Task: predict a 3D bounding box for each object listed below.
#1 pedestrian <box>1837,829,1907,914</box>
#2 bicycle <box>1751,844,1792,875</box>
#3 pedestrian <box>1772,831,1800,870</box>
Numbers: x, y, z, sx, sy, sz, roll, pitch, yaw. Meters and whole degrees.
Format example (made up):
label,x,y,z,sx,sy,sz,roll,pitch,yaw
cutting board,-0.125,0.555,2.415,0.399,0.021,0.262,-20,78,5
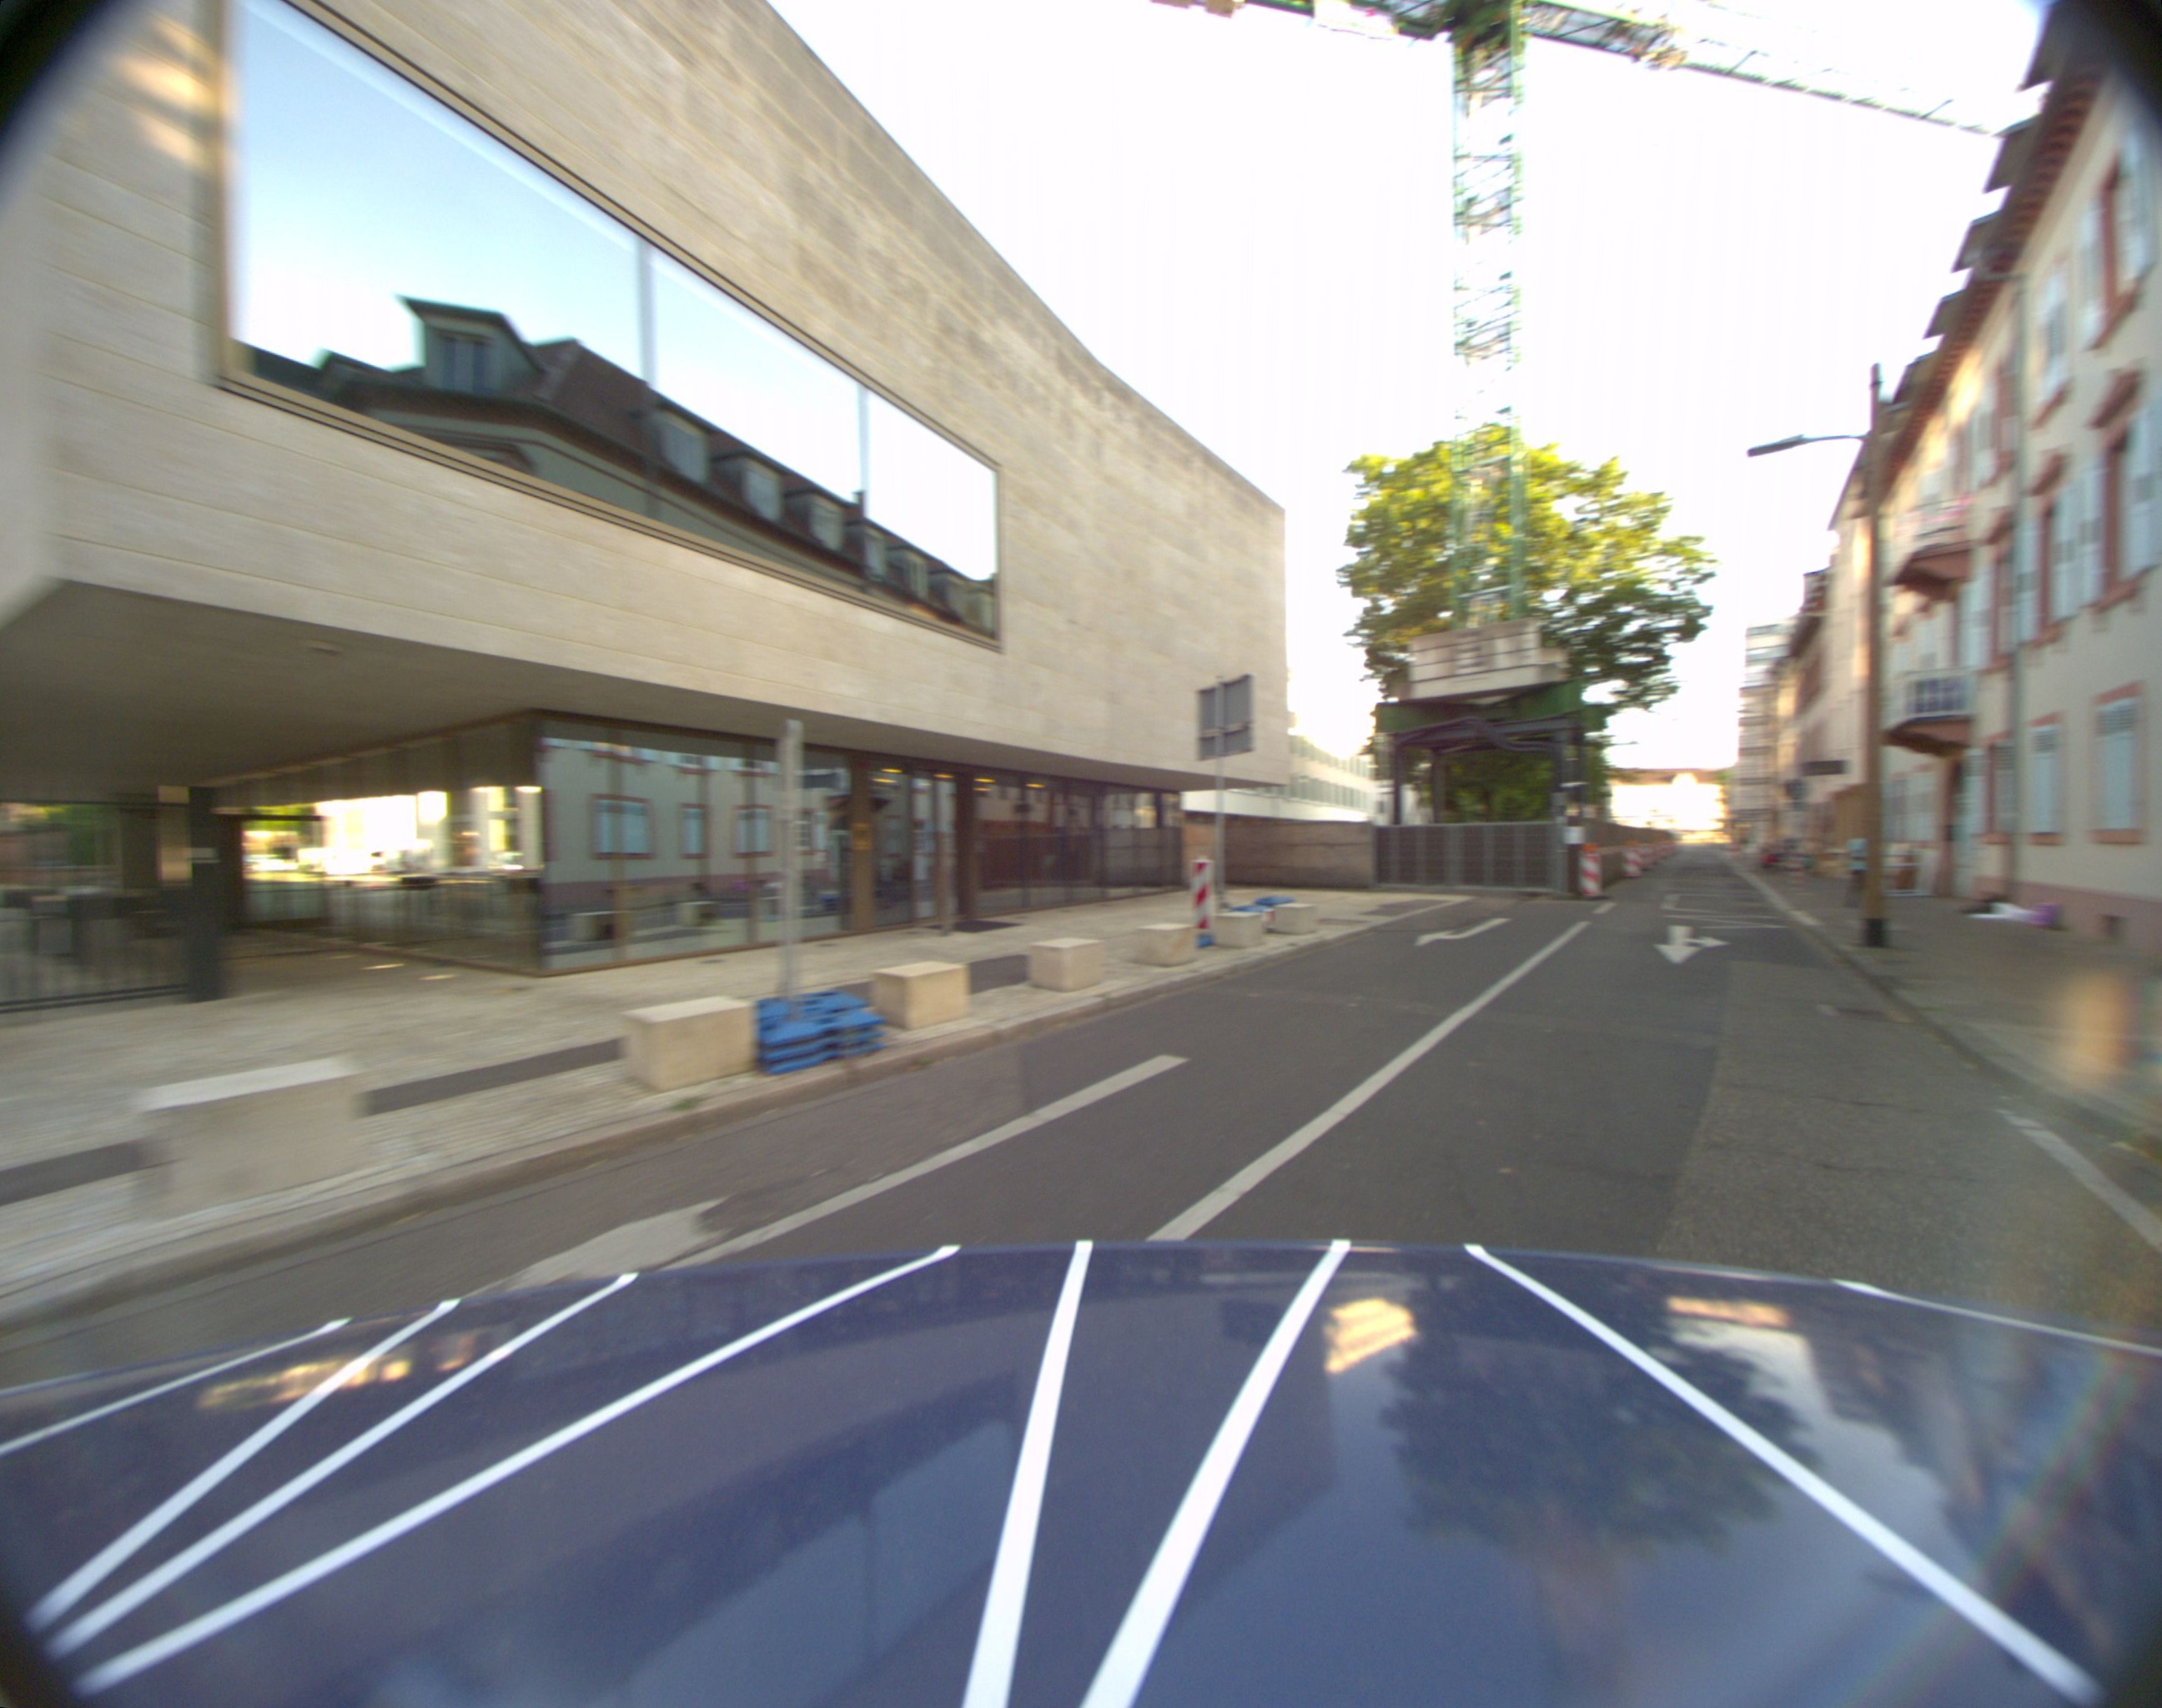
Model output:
label,x,y,z,sx,sy,sz,roll,pitch,yaw
pedestrian,16.165,0.357,15.542,0.824,1.686,0.650,-4,-1,37
bicycle,27.374,0.211,30.126,1.610,1.163,0.659,-2,1,-26
pedestrian,31.003,-0.138,33.415,0.824,1.687,0.650,-1,1,37
